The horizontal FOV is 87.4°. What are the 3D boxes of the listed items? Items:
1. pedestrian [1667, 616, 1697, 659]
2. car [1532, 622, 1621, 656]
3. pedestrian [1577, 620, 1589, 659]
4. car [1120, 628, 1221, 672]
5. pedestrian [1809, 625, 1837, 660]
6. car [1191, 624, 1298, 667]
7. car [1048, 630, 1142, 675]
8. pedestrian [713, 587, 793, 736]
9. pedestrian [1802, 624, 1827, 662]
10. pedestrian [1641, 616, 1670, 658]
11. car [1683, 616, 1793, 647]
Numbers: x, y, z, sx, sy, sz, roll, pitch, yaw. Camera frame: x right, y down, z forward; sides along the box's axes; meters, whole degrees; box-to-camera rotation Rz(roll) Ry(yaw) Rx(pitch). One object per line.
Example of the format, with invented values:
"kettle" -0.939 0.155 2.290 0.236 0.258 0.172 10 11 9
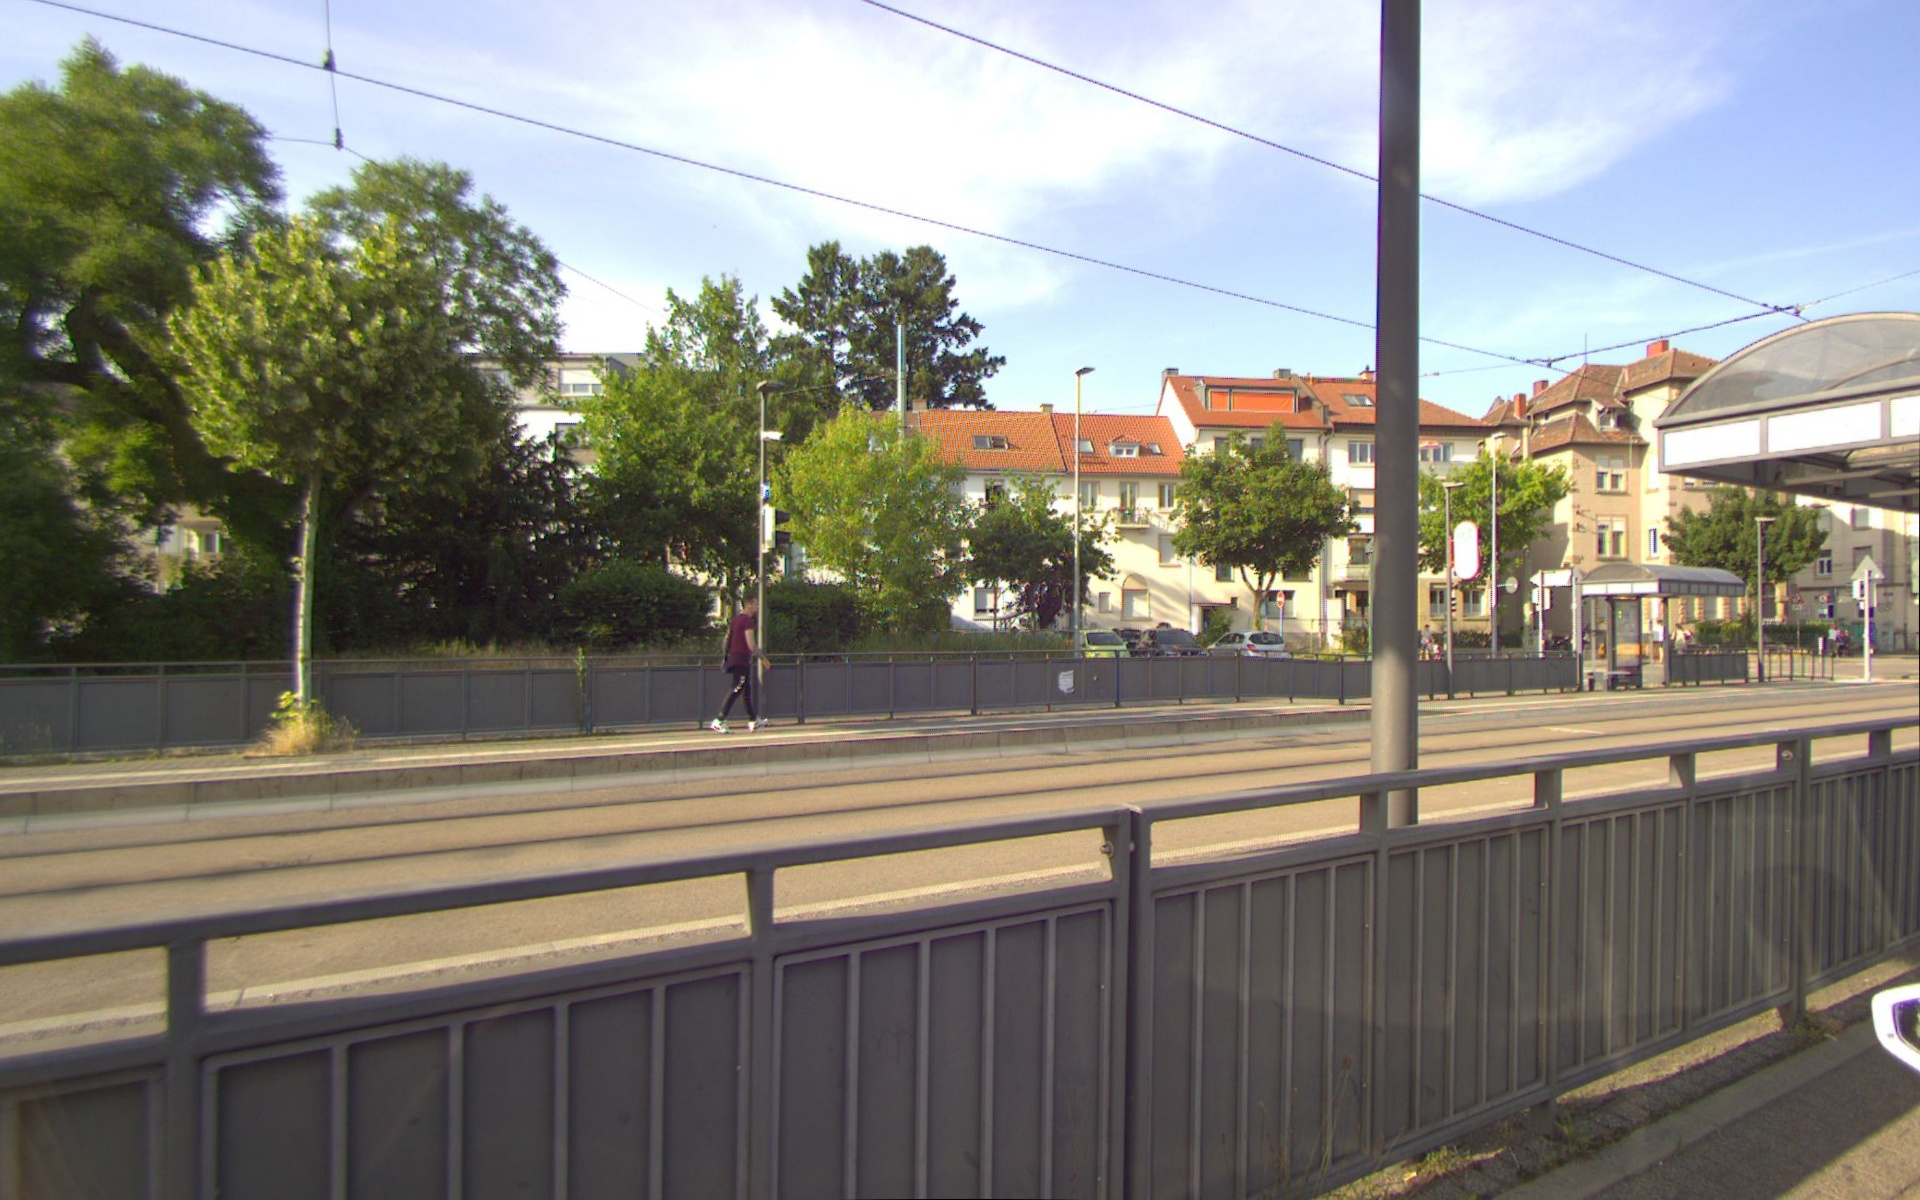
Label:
"pedestrian" 30.309 1.566 42.194 0.740 1.776 0.879 1 -1 -41
"car" 33.861 2.128 55.285 1.965 1.773 3.991 0 -1 -12
"pedestrian" 32.242 2.044 51.983 0.400 2.040 0.382 0 0 -11
"car" 7.443 1.739 35.853 1.967 1.416 3.988 0 -1 -15
"pedestrian" 45.692 2.240 53.181 0.736 1.776 0.883 0 0 -26
"car" 10.234 1.609 36.443 1.967 1.416 3.988 0 -1 -15
"car" 4.715 1.816 35.580 1.966 1.416 3.989 0 -1 -14
"pedestrian" -2.577 0.741 12.447 0.763 1.756 0.832 0 -1 -30
"pedestrian" 40.145 2.001 47.171 0.736 1.776 0.663 0 0 -26
"pedestrian" 29.710 1.578 42.895 0.740 1.776 0.879 1 -1 -41
"car" 43.265 1.740 55.922 4.628 1.649 2.208 0 -1 -7
